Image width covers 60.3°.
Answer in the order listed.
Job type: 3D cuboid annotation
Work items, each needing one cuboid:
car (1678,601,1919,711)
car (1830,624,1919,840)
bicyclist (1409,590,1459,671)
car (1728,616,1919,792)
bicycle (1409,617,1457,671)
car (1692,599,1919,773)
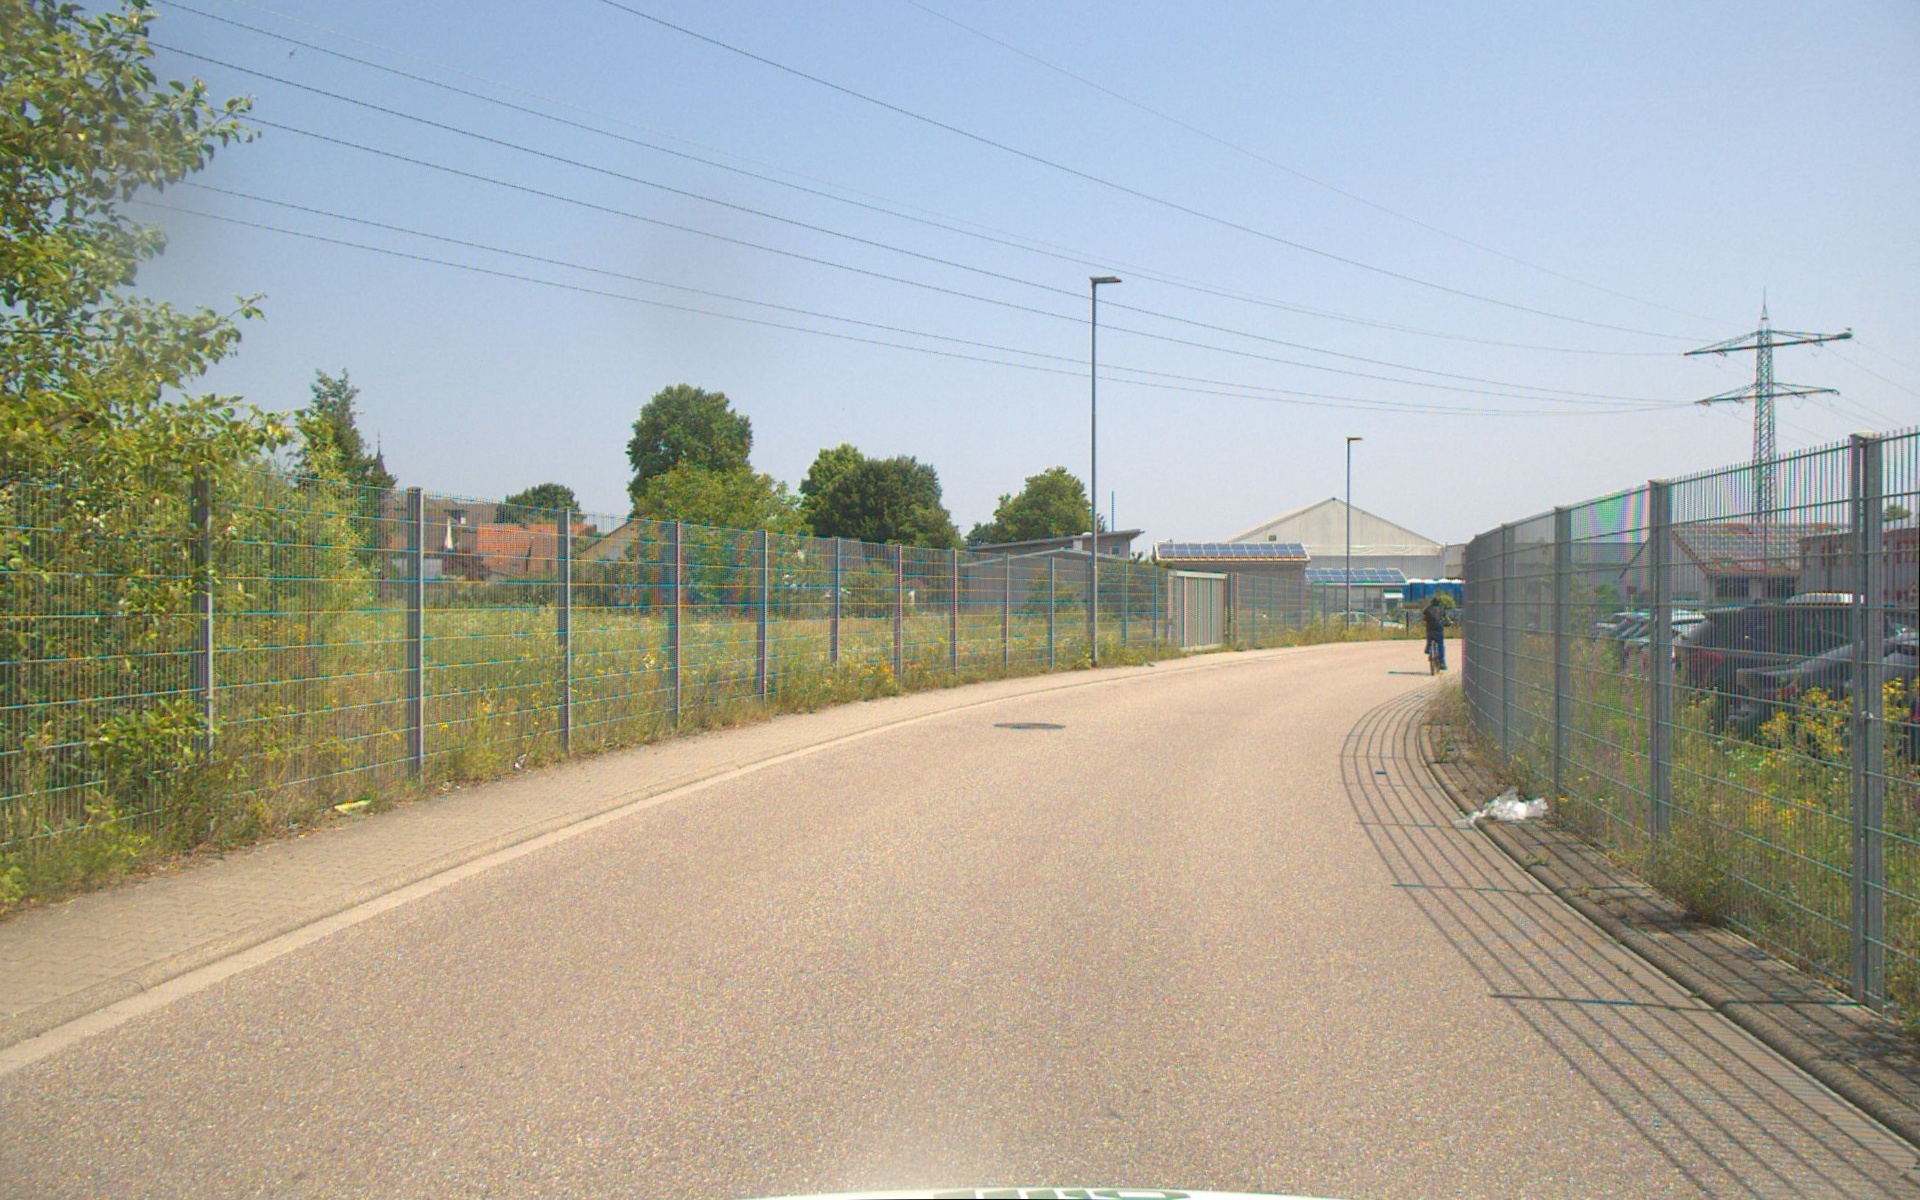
[{"bbox_3d":[13.357,0.849,25.448,4.128,1.430,1.837,3,1,26],"label":"car"},{"bbox_3d":[8.653,0.889,11.537,4.247,1.402,1.766,0,1,12],"label":"car"},{"bbox_3d":[10.064,0.636,35.096,0.826,1.646,1.038,2,1,25],"label":"bicyclist"},{"bbox_3d":[8.960,0.856,14.095,4.190,1.402,1.766,0,1,18],"label":"car"},{"bbox_3d":[10.061,0.918,35.132,0.671,1.070,1.899,1,0,25],"label":"bicycle"},{"bbox_3d":[9.720,0.830,16.738,4.195,1.666,1.764,0,1,25],"label":"car"}]
